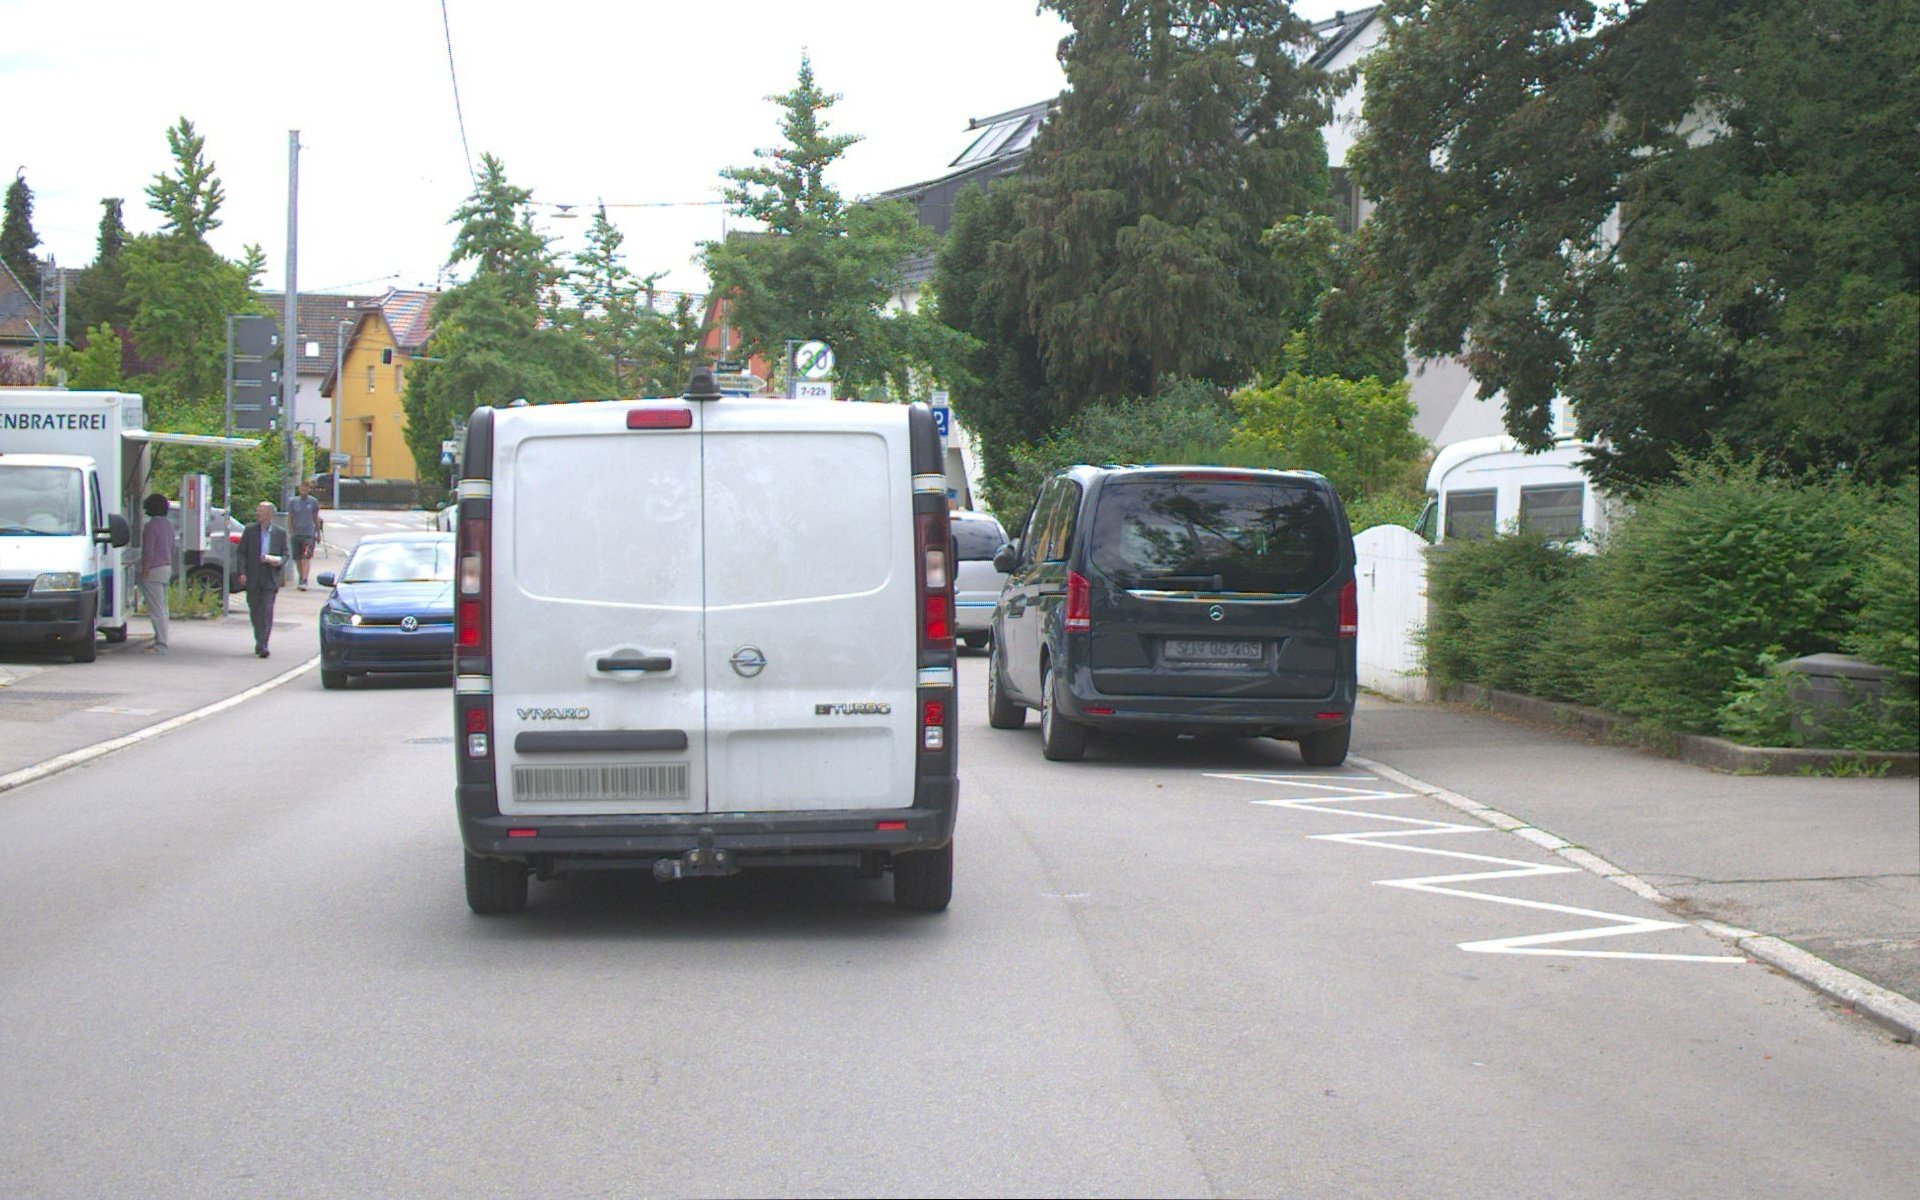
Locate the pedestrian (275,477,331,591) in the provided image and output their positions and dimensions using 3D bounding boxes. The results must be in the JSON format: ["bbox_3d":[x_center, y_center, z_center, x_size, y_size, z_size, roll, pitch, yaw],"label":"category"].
[{"bbox_3d":[-11.605,-1.166,60.771,0.733,1.939,1.218,3,1,-5],"label":"pedestrian"}]

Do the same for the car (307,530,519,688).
[{"bbox_3d":[-5.253,0.052,33.380,1.693,1.427,3.928,1,1,-4],"label":"car"}]

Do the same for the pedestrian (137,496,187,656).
[{"bbox_3d":[-8.564,-0.263,36.904,0.401,1.689,0.597,3,1,-10],"label":"pedestrian"}]

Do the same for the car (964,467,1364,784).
[{"bbox_3d":[1.223,0.107,23.084,1.909,1.842,5.159,2,1,-5],"label":"car"}]

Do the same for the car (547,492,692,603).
[{"bbox_3d":[-5.935,-0.932,59.583,1.993,1.842,4.001,0,1,-13],"label":"car"}]

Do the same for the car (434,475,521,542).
[{"bbox_3d":[-13.207,-2.502,93.991,1.993,1.776,4.001,0,2,-13],"label":"car"}]

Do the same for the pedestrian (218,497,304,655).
[{"bbox_3d":[-7.700,-0.266,37.909,0.722,1.681,1.109,3,1,-5],"label":"pedestrian"}]

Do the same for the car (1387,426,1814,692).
[{"bbox_3d":[7.072,-0.494,38.661,2.496,2.672,5.188,3,1,-16],"label":"car"}]

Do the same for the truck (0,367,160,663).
[{"bbox_3d":[-9.955,-0.908,36.361,2.472,2.831,6.710,1,1,-10],"label":"truck"}]

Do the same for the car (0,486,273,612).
[{"bbox_3d":[-12.859,-0.794,52.640,4.310,1.690,1.798,3,1,-19],"label":"car"}]

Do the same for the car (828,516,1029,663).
[{"bbox_3d":[-0.410,-0.161,39.204,1.759,1.577,4.020,0,1,-8],"label":"car"}]

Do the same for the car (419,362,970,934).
[{"bbox_3d":[-1.154,0.136,14.288,1.915,1.996,4.439,0,1,-6],"label":"car"}]
